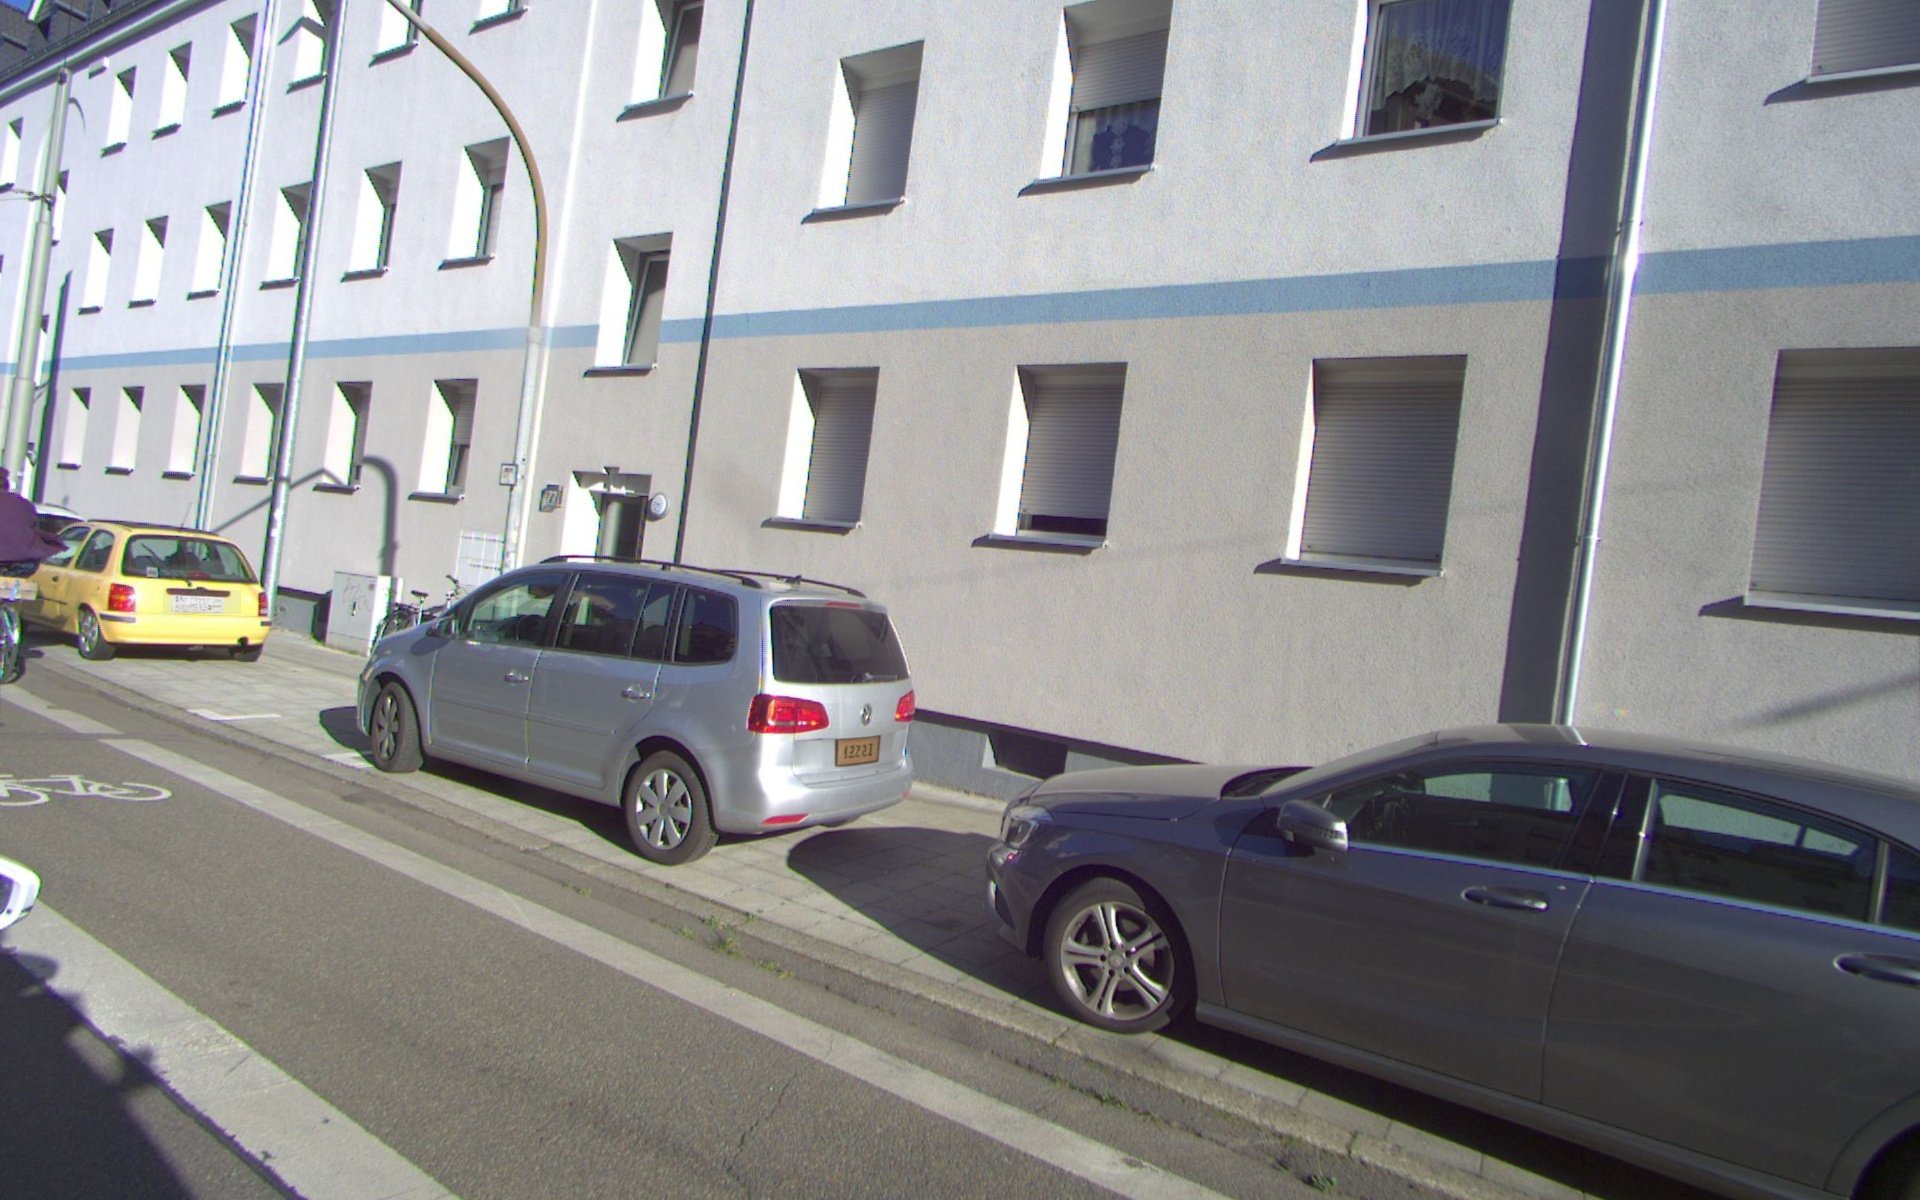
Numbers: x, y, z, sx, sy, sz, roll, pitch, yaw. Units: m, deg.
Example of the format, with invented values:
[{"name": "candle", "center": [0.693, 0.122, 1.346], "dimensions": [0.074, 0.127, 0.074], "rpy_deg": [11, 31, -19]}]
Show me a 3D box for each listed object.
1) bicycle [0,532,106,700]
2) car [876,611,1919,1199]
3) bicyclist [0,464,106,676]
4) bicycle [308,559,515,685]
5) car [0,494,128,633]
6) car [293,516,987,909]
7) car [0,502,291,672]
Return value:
[{"name": "bicycle", "center": [-8.437, 0.042, 8.635], "dimensions": [2.421, 1.250, 0.823], "rpy_deg": [7, -3, 31]}, {"name": "car", "center": [1.994, 1.106, 4.039], "dimensions": [4.295, 1.574, 1.865], "rpy_deg": [7, 0, 33]}, {"name": "bicyclist", "center": [-8.133, -0.280, 8.540], "dimensions": [0.953, 1.696, 0.936], "rpy_deg": [7, -1, 31]}, {"name": "bicycle", "center": [-6.728, 0.260, 12.319], "dimensions": [2.288, 1.211, 1.098], "rpy_deg": [7, -1, 30]}, {"name": "car", "center": [-13.170, -0.648, 13.486], "dimensions": [4.435, 1.590, 1.681], "rpy_deg": [7, 0, 32]}, {"name": "car", "center": [-2.307, 0.528, 6.885], "dimensions": [4.546, 1.686, 1.758], "rpy_deg": [7, 0, 29]}, {"name": "car", "center": [-9.496, -0.201, 11.372], "dimensions": [4.131, 1.448, 1.516], "rpy_deg": [7, 0, 31]}]
